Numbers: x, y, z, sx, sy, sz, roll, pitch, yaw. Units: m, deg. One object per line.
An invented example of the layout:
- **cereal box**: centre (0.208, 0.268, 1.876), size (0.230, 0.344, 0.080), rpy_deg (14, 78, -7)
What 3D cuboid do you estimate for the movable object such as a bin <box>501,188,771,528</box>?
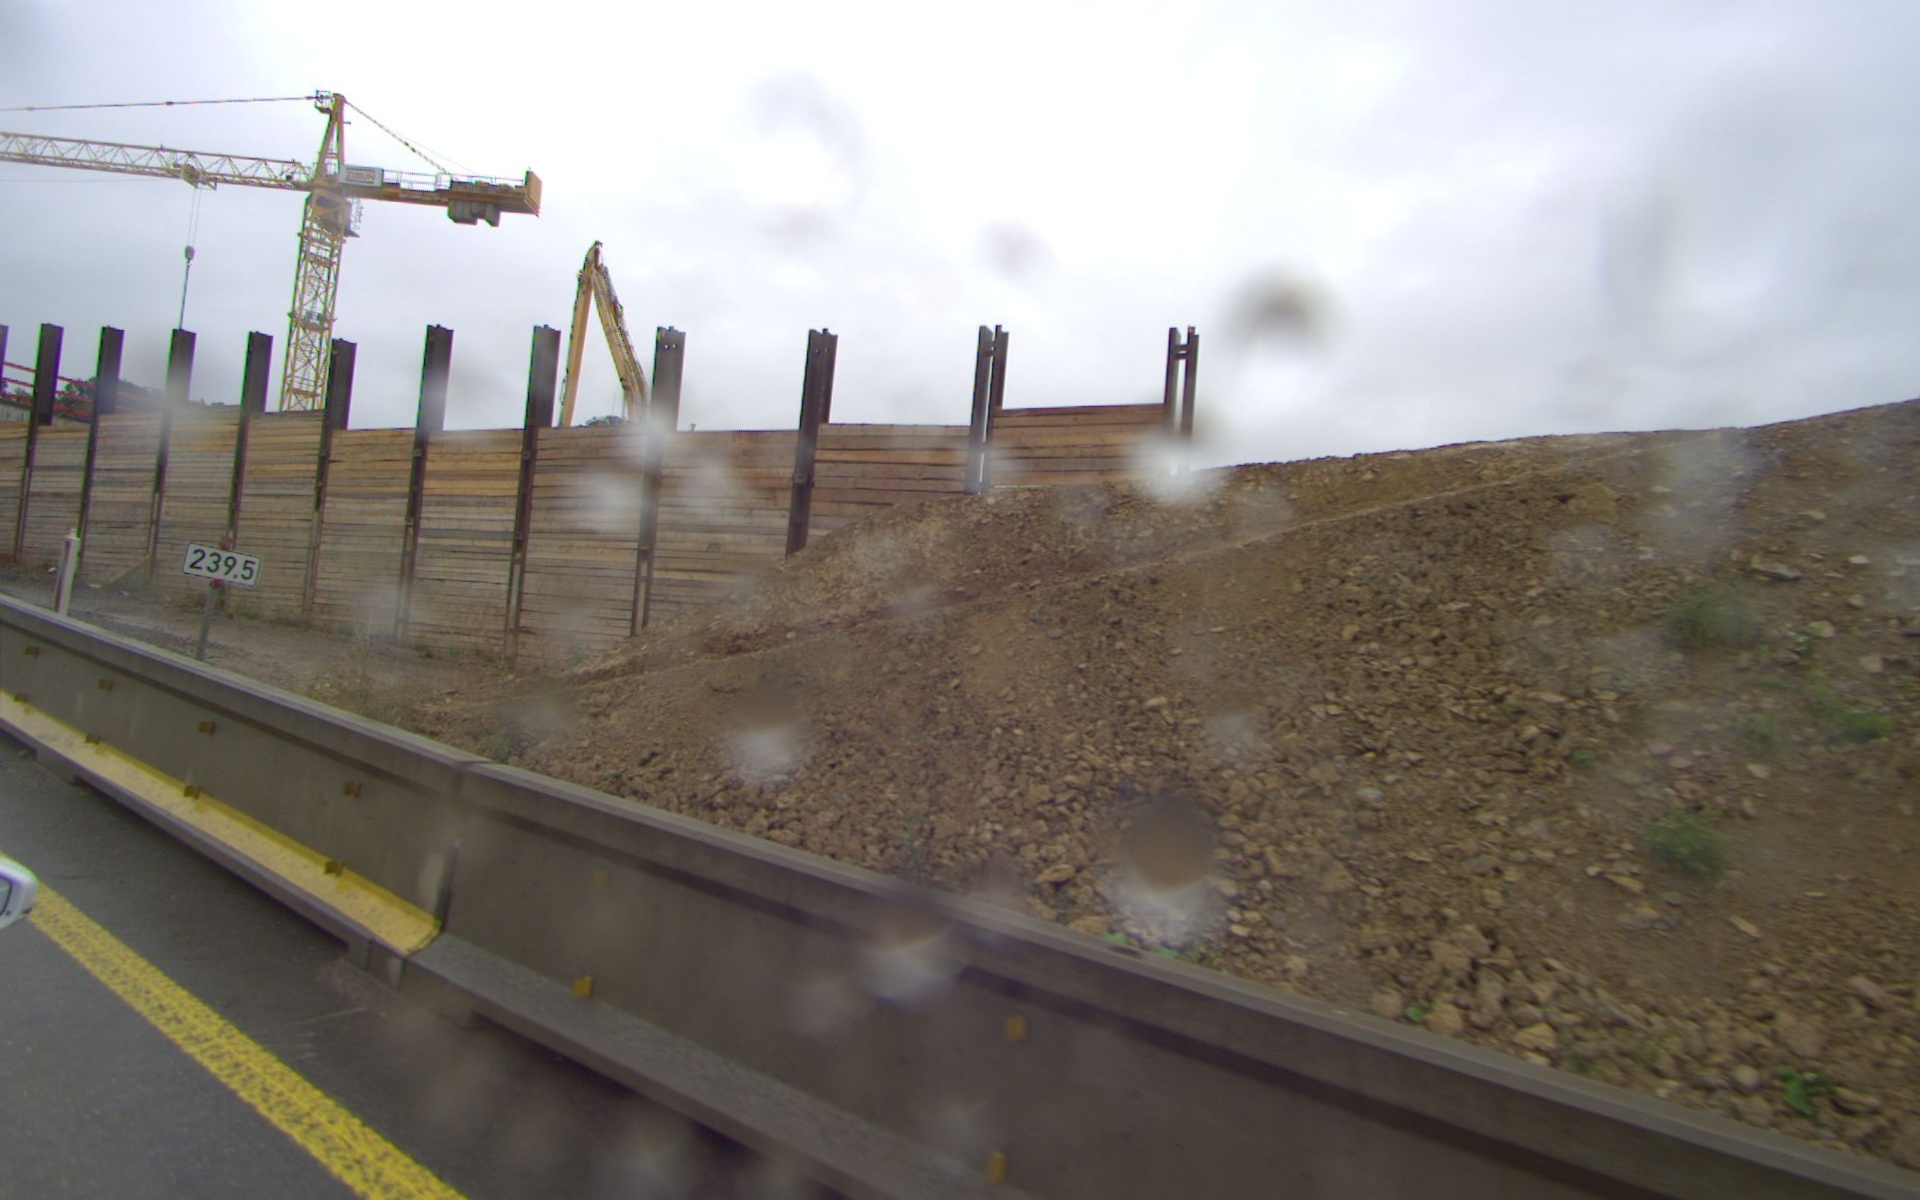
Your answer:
- **movable object such as a bin**: centre (-13.000, -8.721, 39.782), size (10.162, 10.969, 4.713), rpy_deg (3, -2, 40)
